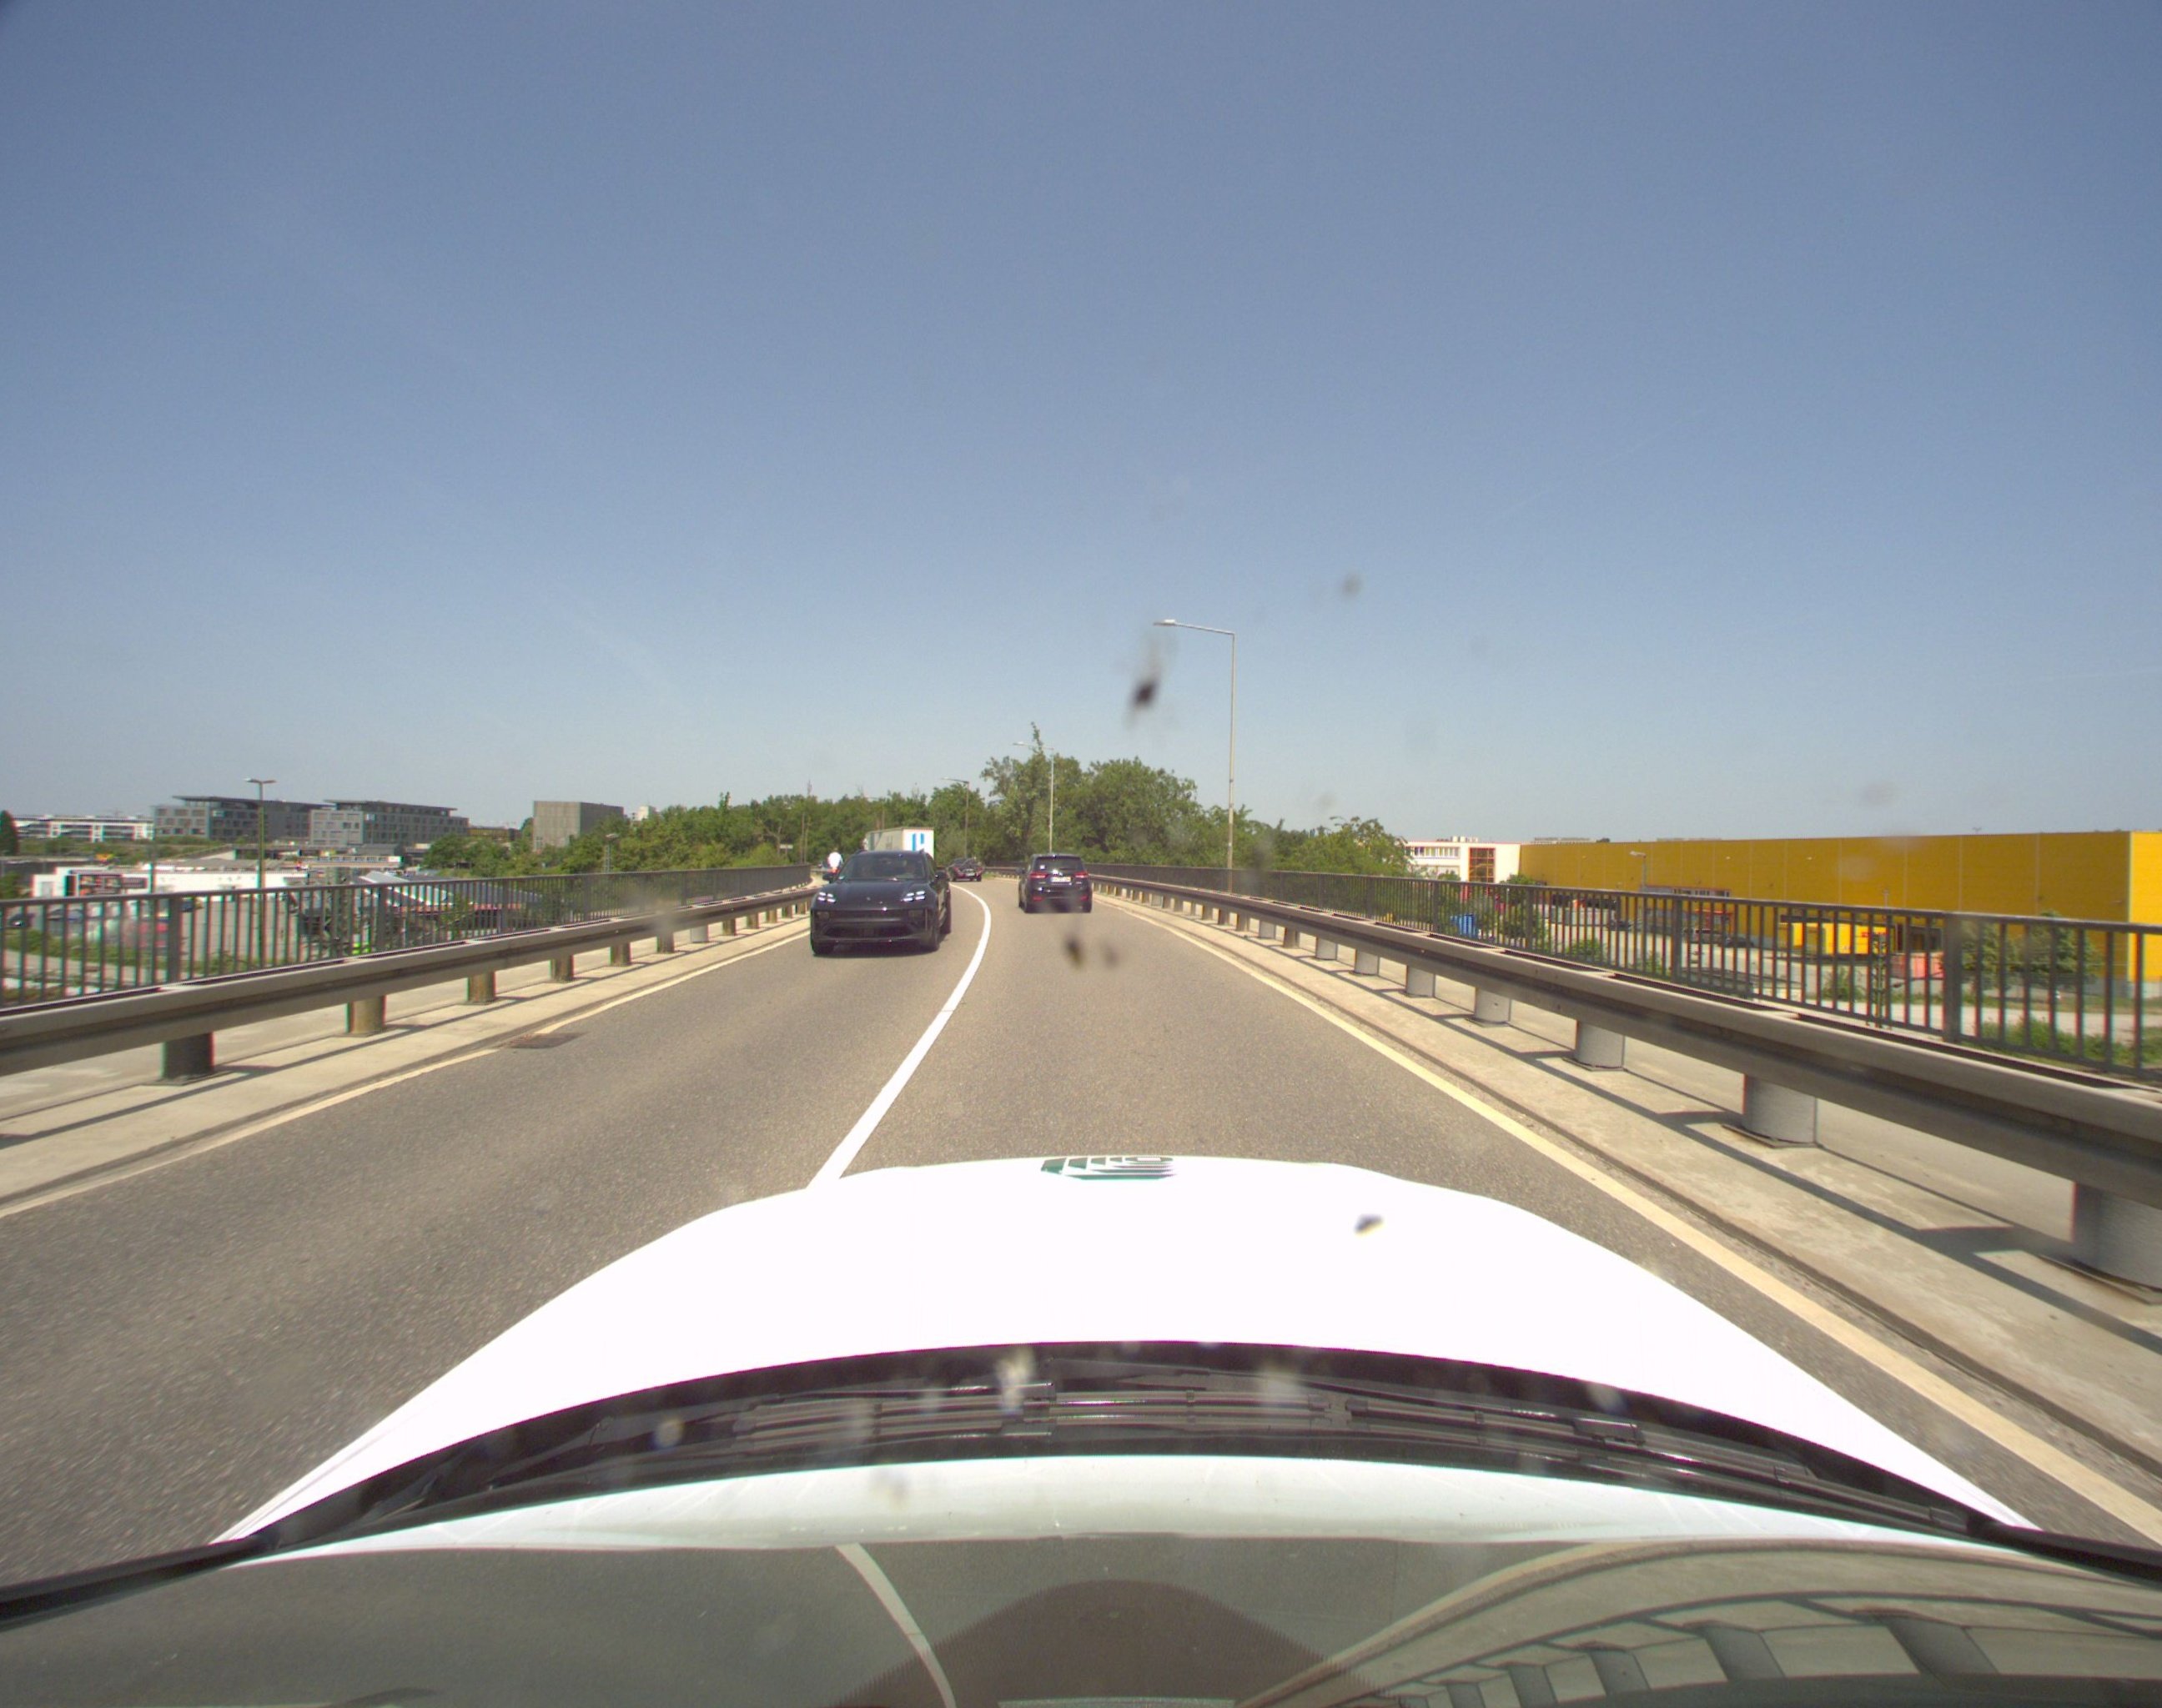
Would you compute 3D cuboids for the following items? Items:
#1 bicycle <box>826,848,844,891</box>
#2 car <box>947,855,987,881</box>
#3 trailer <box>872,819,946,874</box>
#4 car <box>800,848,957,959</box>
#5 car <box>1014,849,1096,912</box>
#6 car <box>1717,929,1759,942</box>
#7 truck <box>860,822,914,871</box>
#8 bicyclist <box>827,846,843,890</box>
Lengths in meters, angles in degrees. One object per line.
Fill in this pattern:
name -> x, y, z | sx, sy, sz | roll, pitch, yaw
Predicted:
bicycle -> -10.789, 0.660, 35.730 | 0.699, 1.801, 2.169 | 0, 1, -15
car -> -6.860, 0.782, 48.815 | 2.014, 1.429, 3.759 | 0, 1, -14
trailer -> -15.058, -0.679, 70.556 | 3.589, 4.384, 11.342 | -1, 1, -26
car -> -3.314, 0.704, 14.219 | 1.889, 1.596, 4.481 | 0, 1, -4
car -> -0.815, 0.650, 22.602 | 1.920, 1.574, 3.882 | 0, 1, -7
car -> 82.802, 10.256, 102.640 | 3.819, 1.449, 1.801 | 0, 1, 1
truck -> -18.524, -0.707, 77.405 | 3.592, 4.440, 6.458 | -1, 1, -27
bicyclist -> -10.776, 0.598, 35.693 | 0.625, 1.886, 0.708 | 0, 0, -16
